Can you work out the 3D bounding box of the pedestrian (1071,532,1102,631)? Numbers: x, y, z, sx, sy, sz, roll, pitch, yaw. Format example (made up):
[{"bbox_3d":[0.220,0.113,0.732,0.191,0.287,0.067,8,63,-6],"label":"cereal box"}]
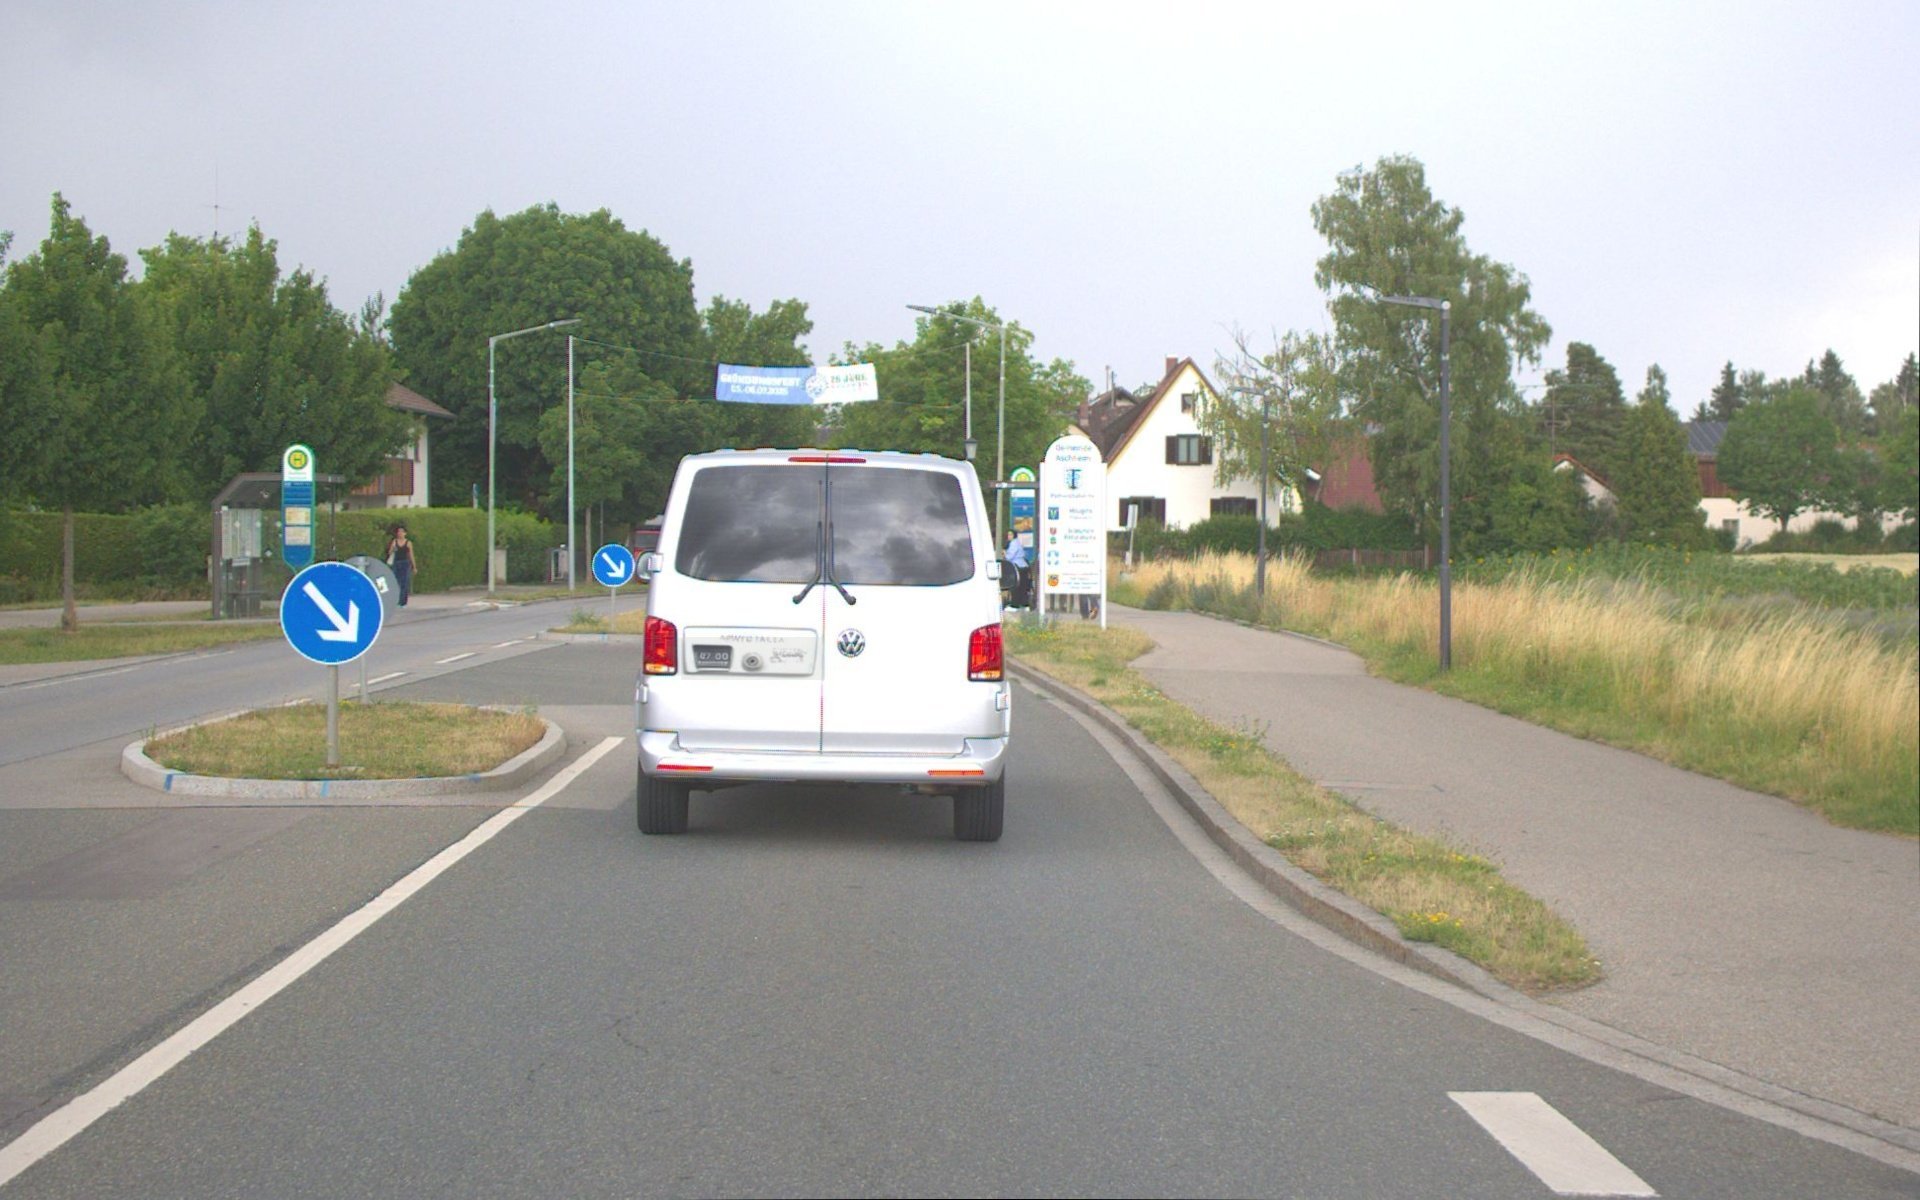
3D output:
[{"bbox_3d":[2.242,-0.337,60.935,0.485,1.726,0.642,-1,1,1],"label":"pedestrian"}]

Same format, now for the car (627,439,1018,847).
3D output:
[{"bbox_3d":[-0.751,0.156,18.373,1.825,1.907,4.001,1,1,-3],"label":"car"}]

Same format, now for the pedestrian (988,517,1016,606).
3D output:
[{"bbox_3d":[0.830,-0.760,67.415,0.485,1.726,0.642,-1,1,-2],"label":"pedestrian"}]

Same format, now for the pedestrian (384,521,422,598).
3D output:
[{"bbox_3d":[-11.229,-0.816,69.341,0.623,1.519,0.680,-1,1,-1],"label":"pedestrian"}]

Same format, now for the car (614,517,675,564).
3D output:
[{"bbox_3d":[-10.056,-1.923,109.677,1.653,1.424,3.603,-1,2,-1],"label":"car"}]

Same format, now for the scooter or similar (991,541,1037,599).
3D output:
[{"bbox_3d":[1.050,-0.589,67.289,0.848,1.100,1.094,-1,1,-1],"label":"scooter or similar"}]
